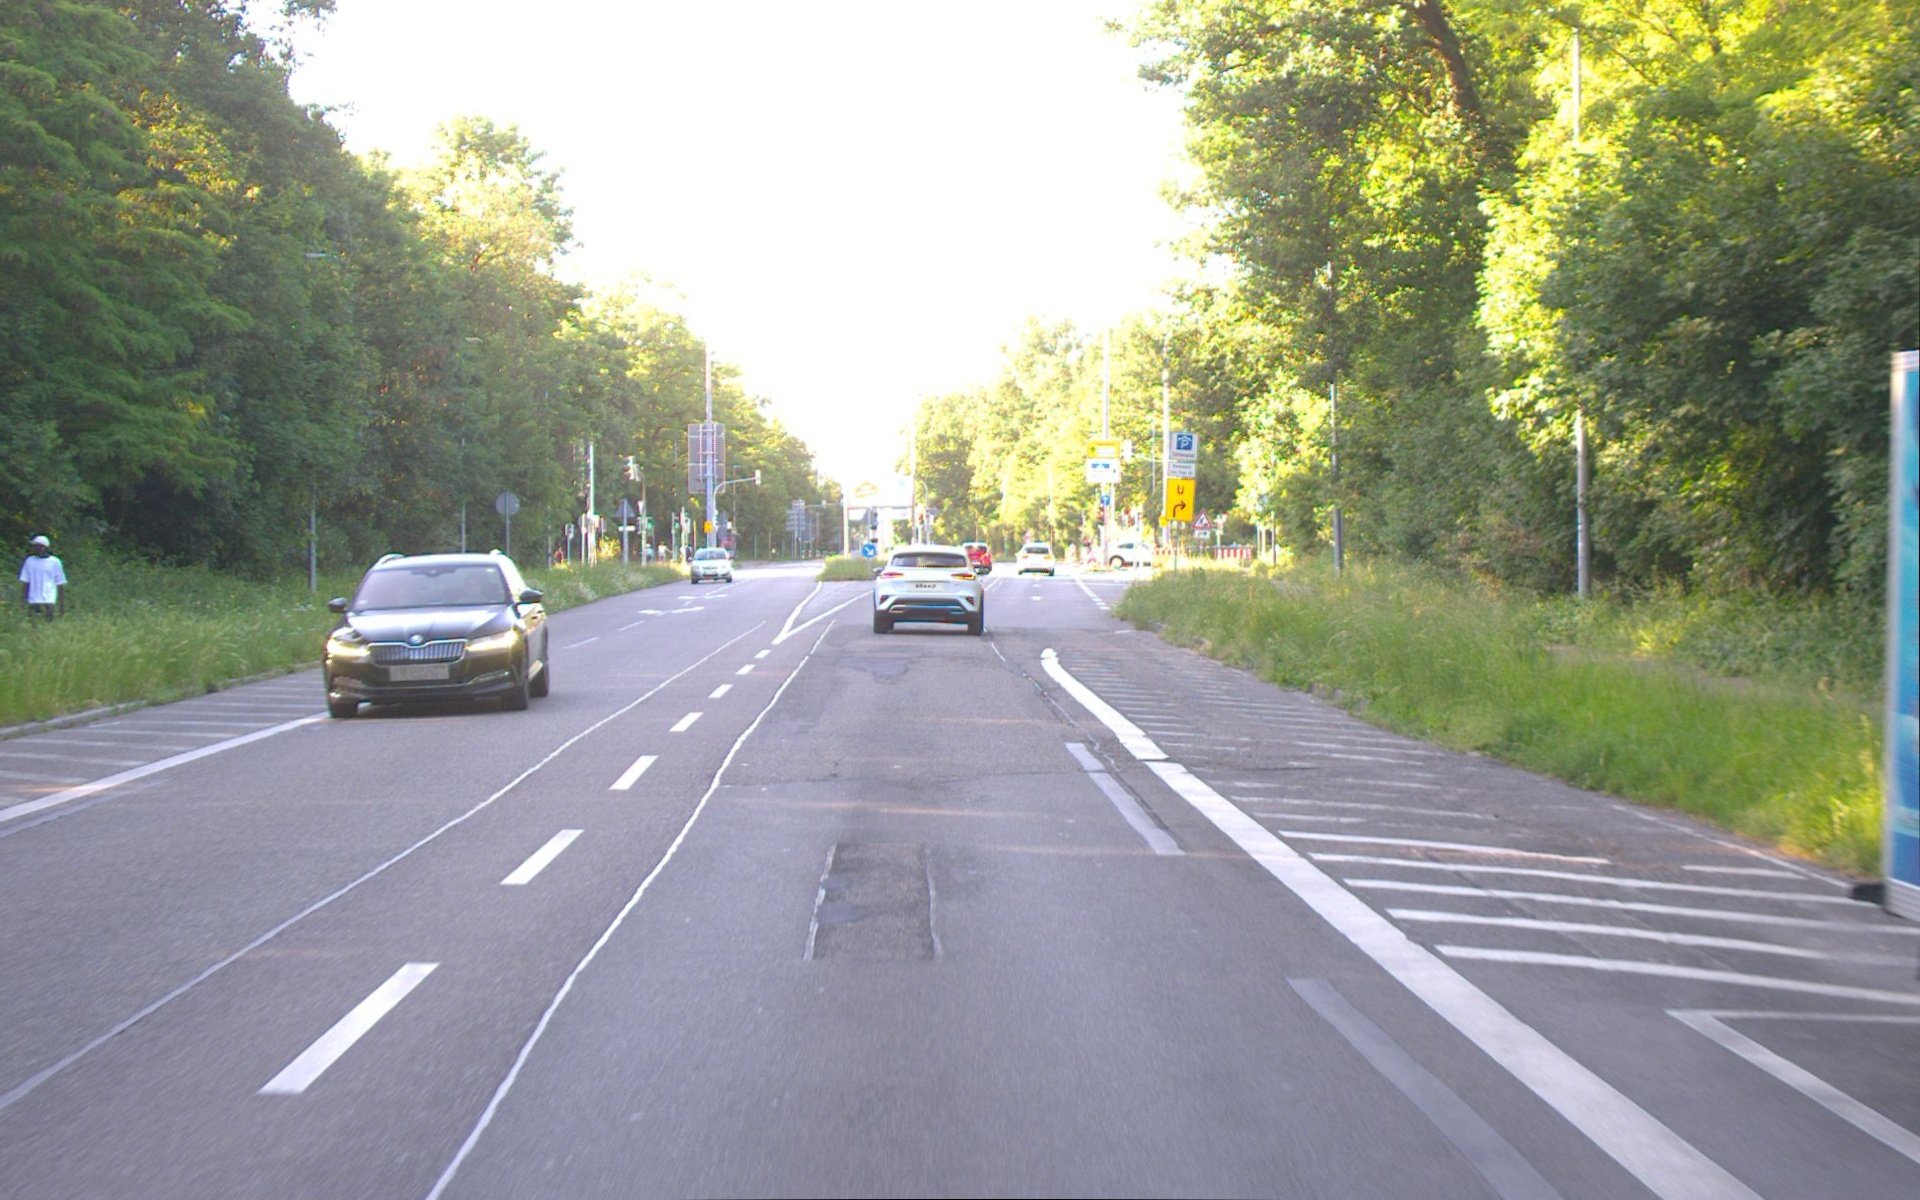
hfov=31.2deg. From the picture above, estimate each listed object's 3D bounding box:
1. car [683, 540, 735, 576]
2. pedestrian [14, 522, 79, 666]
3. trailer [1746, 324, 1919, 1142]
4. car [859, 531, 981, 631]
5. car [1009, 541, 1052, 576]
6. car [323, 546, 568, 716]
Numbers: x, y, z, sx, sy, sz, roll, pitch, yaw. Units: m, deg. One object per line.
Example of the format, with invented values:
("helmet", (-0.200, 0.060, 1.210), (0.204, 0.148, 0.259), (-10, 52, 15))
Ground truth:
("car", (-10.682, -1.790, 146.747), (1.993, 1.459, 4.000), (1, 1, -1))
("pedestrian", (-12.915, -0.088, 48.609), (0.693, 2.007, 0.712), (1, 1, 0))
("trailer", (3.381, 0.377, 8.999), (1.500, 2.228, 4.550), (1, 1, -1))
("car", (-0.697, -0.351, 58.464), (1.993, 1.634, 4.000), (0, 1, -1))
("car", (3.402, -2.029, 166.730), (1.993, 1.612, 4.000), (1, 1, 0))
("car", (-4.855, 0.236, 32.994), (1.678, 1.485, 4.690), (-1, 1, -1))
